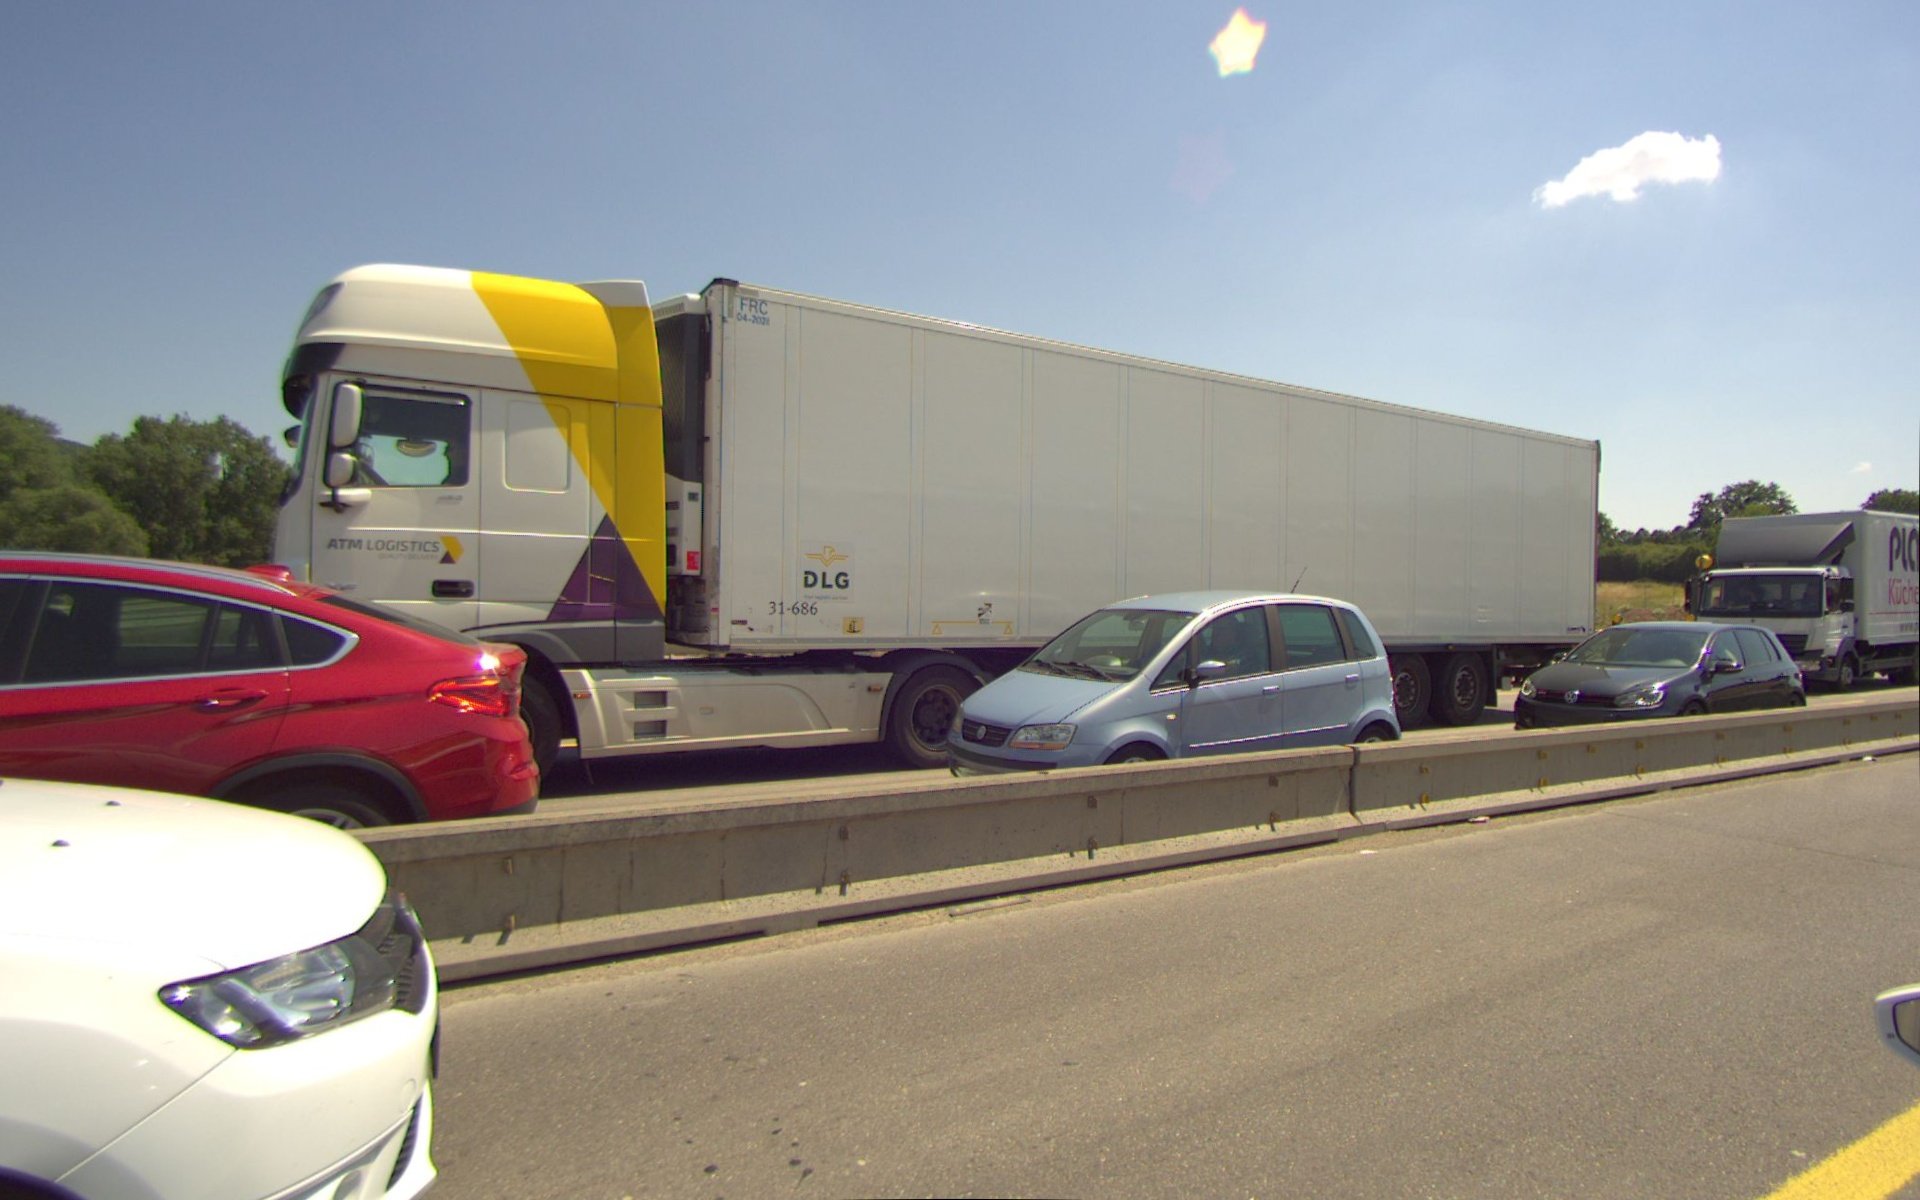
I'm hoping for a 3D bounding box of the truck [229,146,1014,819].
[{"bbox_3d":[-2.767,-0.690,9.078,5.804,4.240,2.963,1,0,-30],"label":"truck"}]

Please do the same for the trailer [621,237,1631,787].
[{"bbox_3d":[3.195,-0.552,12.600,13.782,4.264,2.971,1,0,-31],"label":"trailer"}]

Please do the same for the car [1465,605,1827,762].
[{"bbox_3d":[8.358,0.894,12.176,4.287,1.577,1.984,1,0,-30],"label":"car"}]

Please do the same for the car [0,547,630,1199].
[{"bbox_3d":[-3.090,0.650,1.473,4.653,1.550,1.809,2,-1,-32],"label":"car"}]

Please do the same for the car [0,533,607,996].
[{"bbox_3d":[-4.148,0.564,4.284,4.704,1.653,1.983,0,2,-32],"label":"car"}]

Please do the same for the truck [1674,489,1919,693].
[{"bbox_3d":[19.554,-0.124,22.597,8.572,3.907,2.511,1,0,-32],"label":"truck"}]

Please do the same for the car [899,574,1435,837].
[{"bbox_3d":[1.696,0.698,7.918,3.954,1.595,1.818,2,-1,-31],"label":"car"}]
